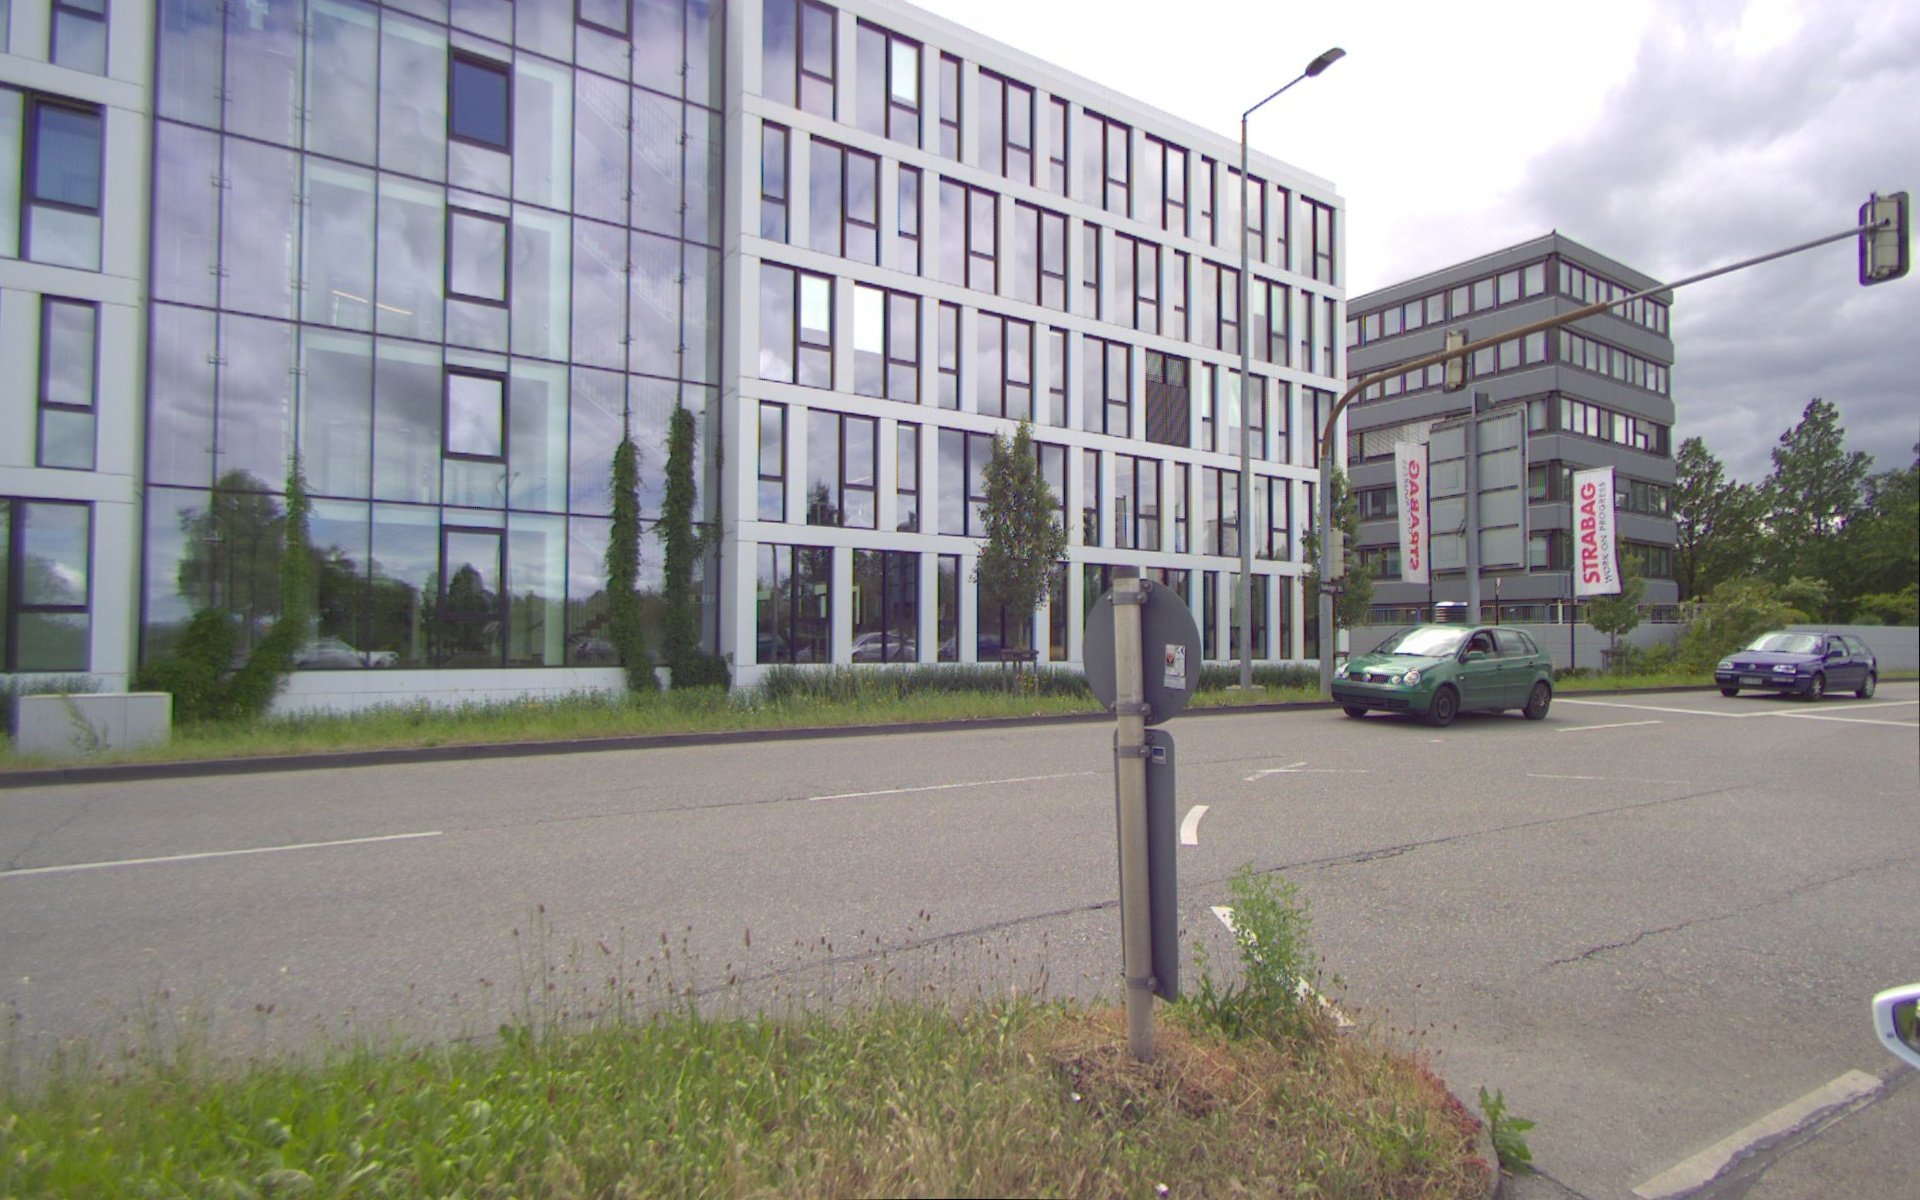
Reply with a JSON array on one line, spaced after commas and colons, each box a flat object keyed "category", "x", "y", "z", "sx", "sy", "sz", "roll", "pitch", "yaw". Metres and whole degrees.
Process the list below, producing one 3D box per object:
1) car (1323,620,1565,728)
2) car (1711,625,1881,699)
[{"category": "car", "x": 7.489, "y": 1.067, "z": 15.483, "sx": 3.709, "sy": 1.451, "sz": 1.597, "roll": 1, "pitch": -1, "yaw": -31}, {"category": "car", "x": 17.908, "y": 1.265, "z": 21.492, "sx": 3.849, "sy": 1.438, "sz": 1.547, "roll": 1, "pitch": 0, "yaw": -30}]
